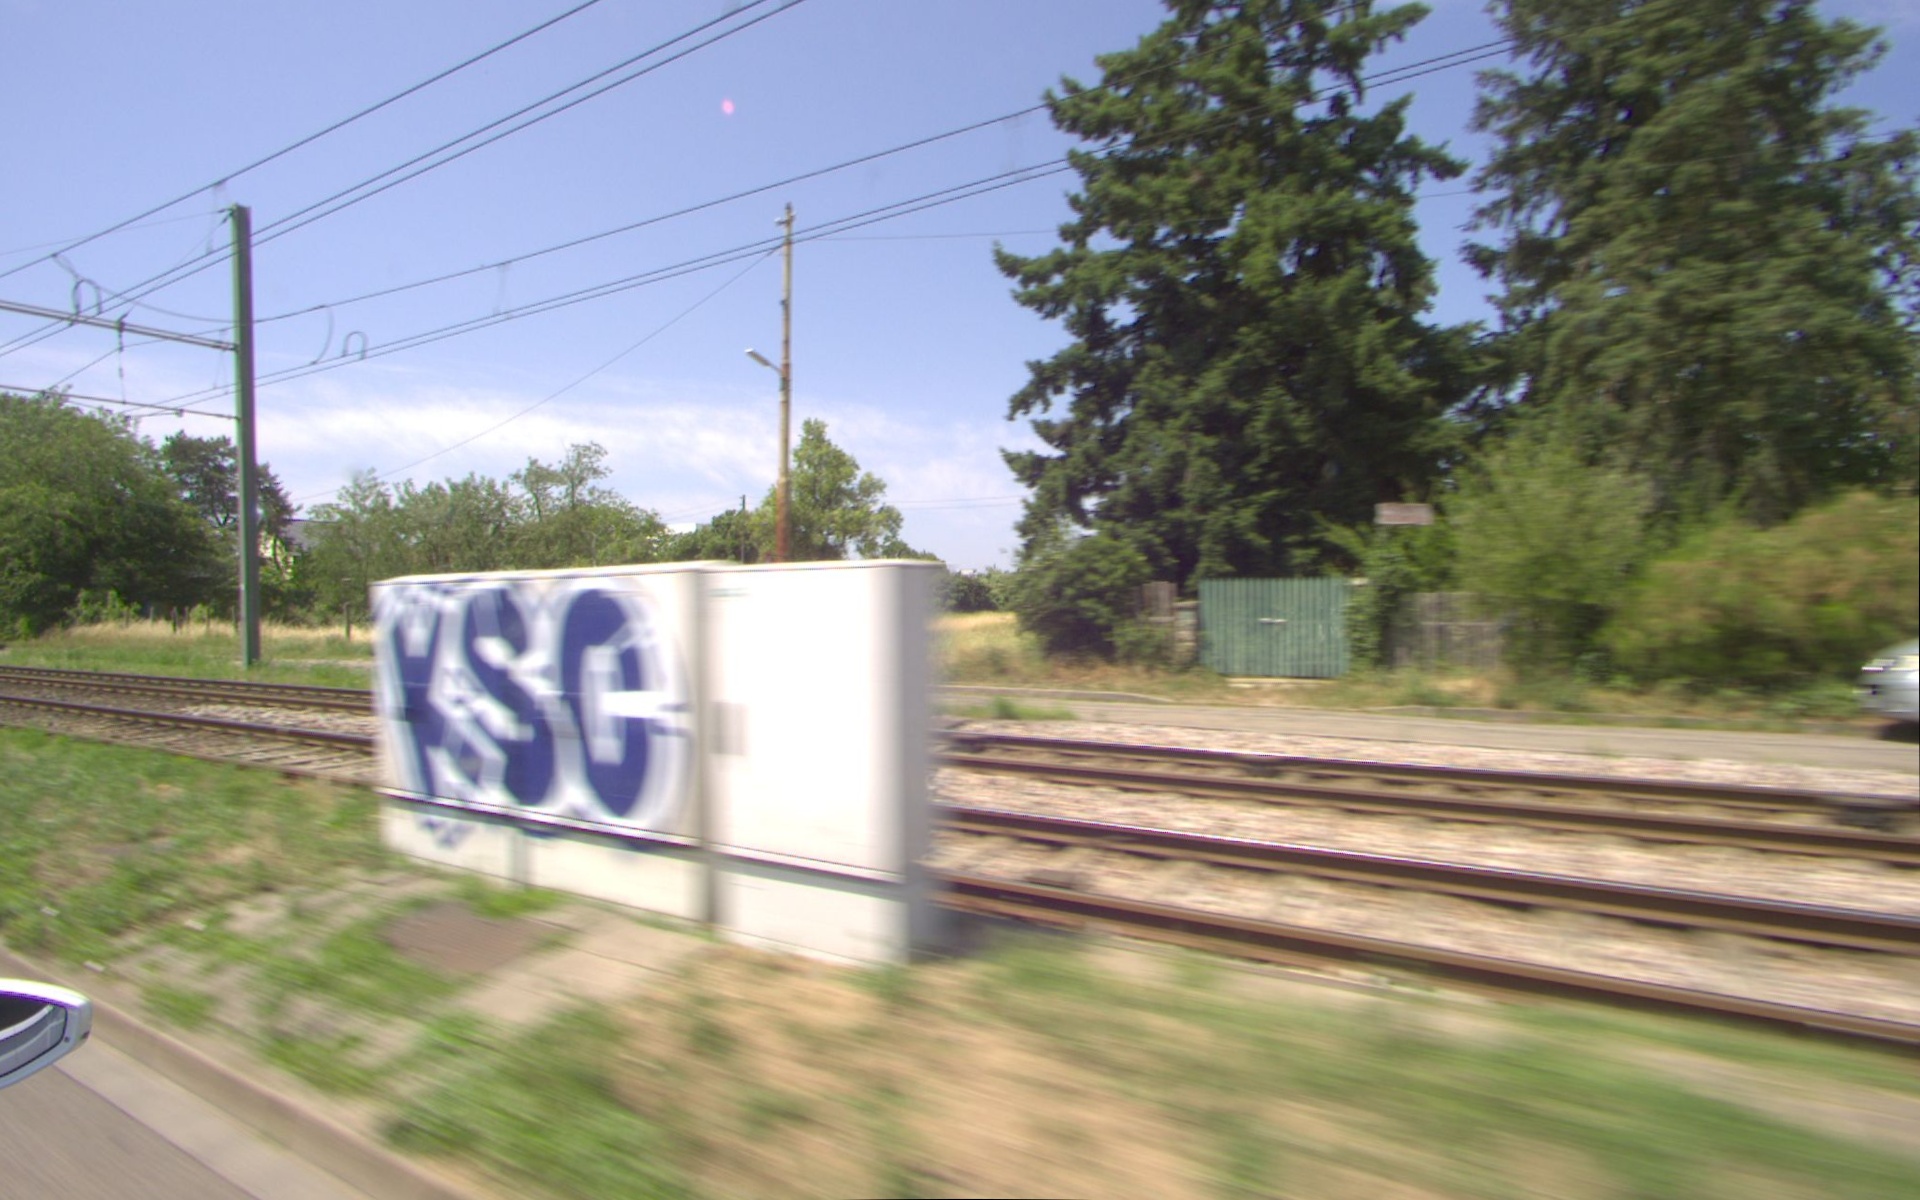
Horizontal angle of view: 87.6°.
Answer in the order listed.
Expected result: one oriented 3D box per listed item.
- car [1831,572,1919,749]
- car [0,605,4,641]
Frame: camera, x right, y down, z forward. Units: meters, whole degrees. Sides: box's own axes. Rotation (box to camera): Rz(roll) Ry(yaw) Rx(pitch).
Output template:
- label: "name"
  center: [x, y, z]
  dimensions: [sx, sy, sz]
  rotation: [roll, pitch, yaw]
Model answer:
- label: "car"
  center: [12.655, 0.592, 10.497]
  dimensions: [4.995, 1.906, 2.032]
  rotation: [-2, 0, 31]
- label: "car"
  center: [-51.359, 1.248, 51.580]
  dimensions: [4.727, 1.826, 1.989]
  rotation: [-2, 0, 33]
